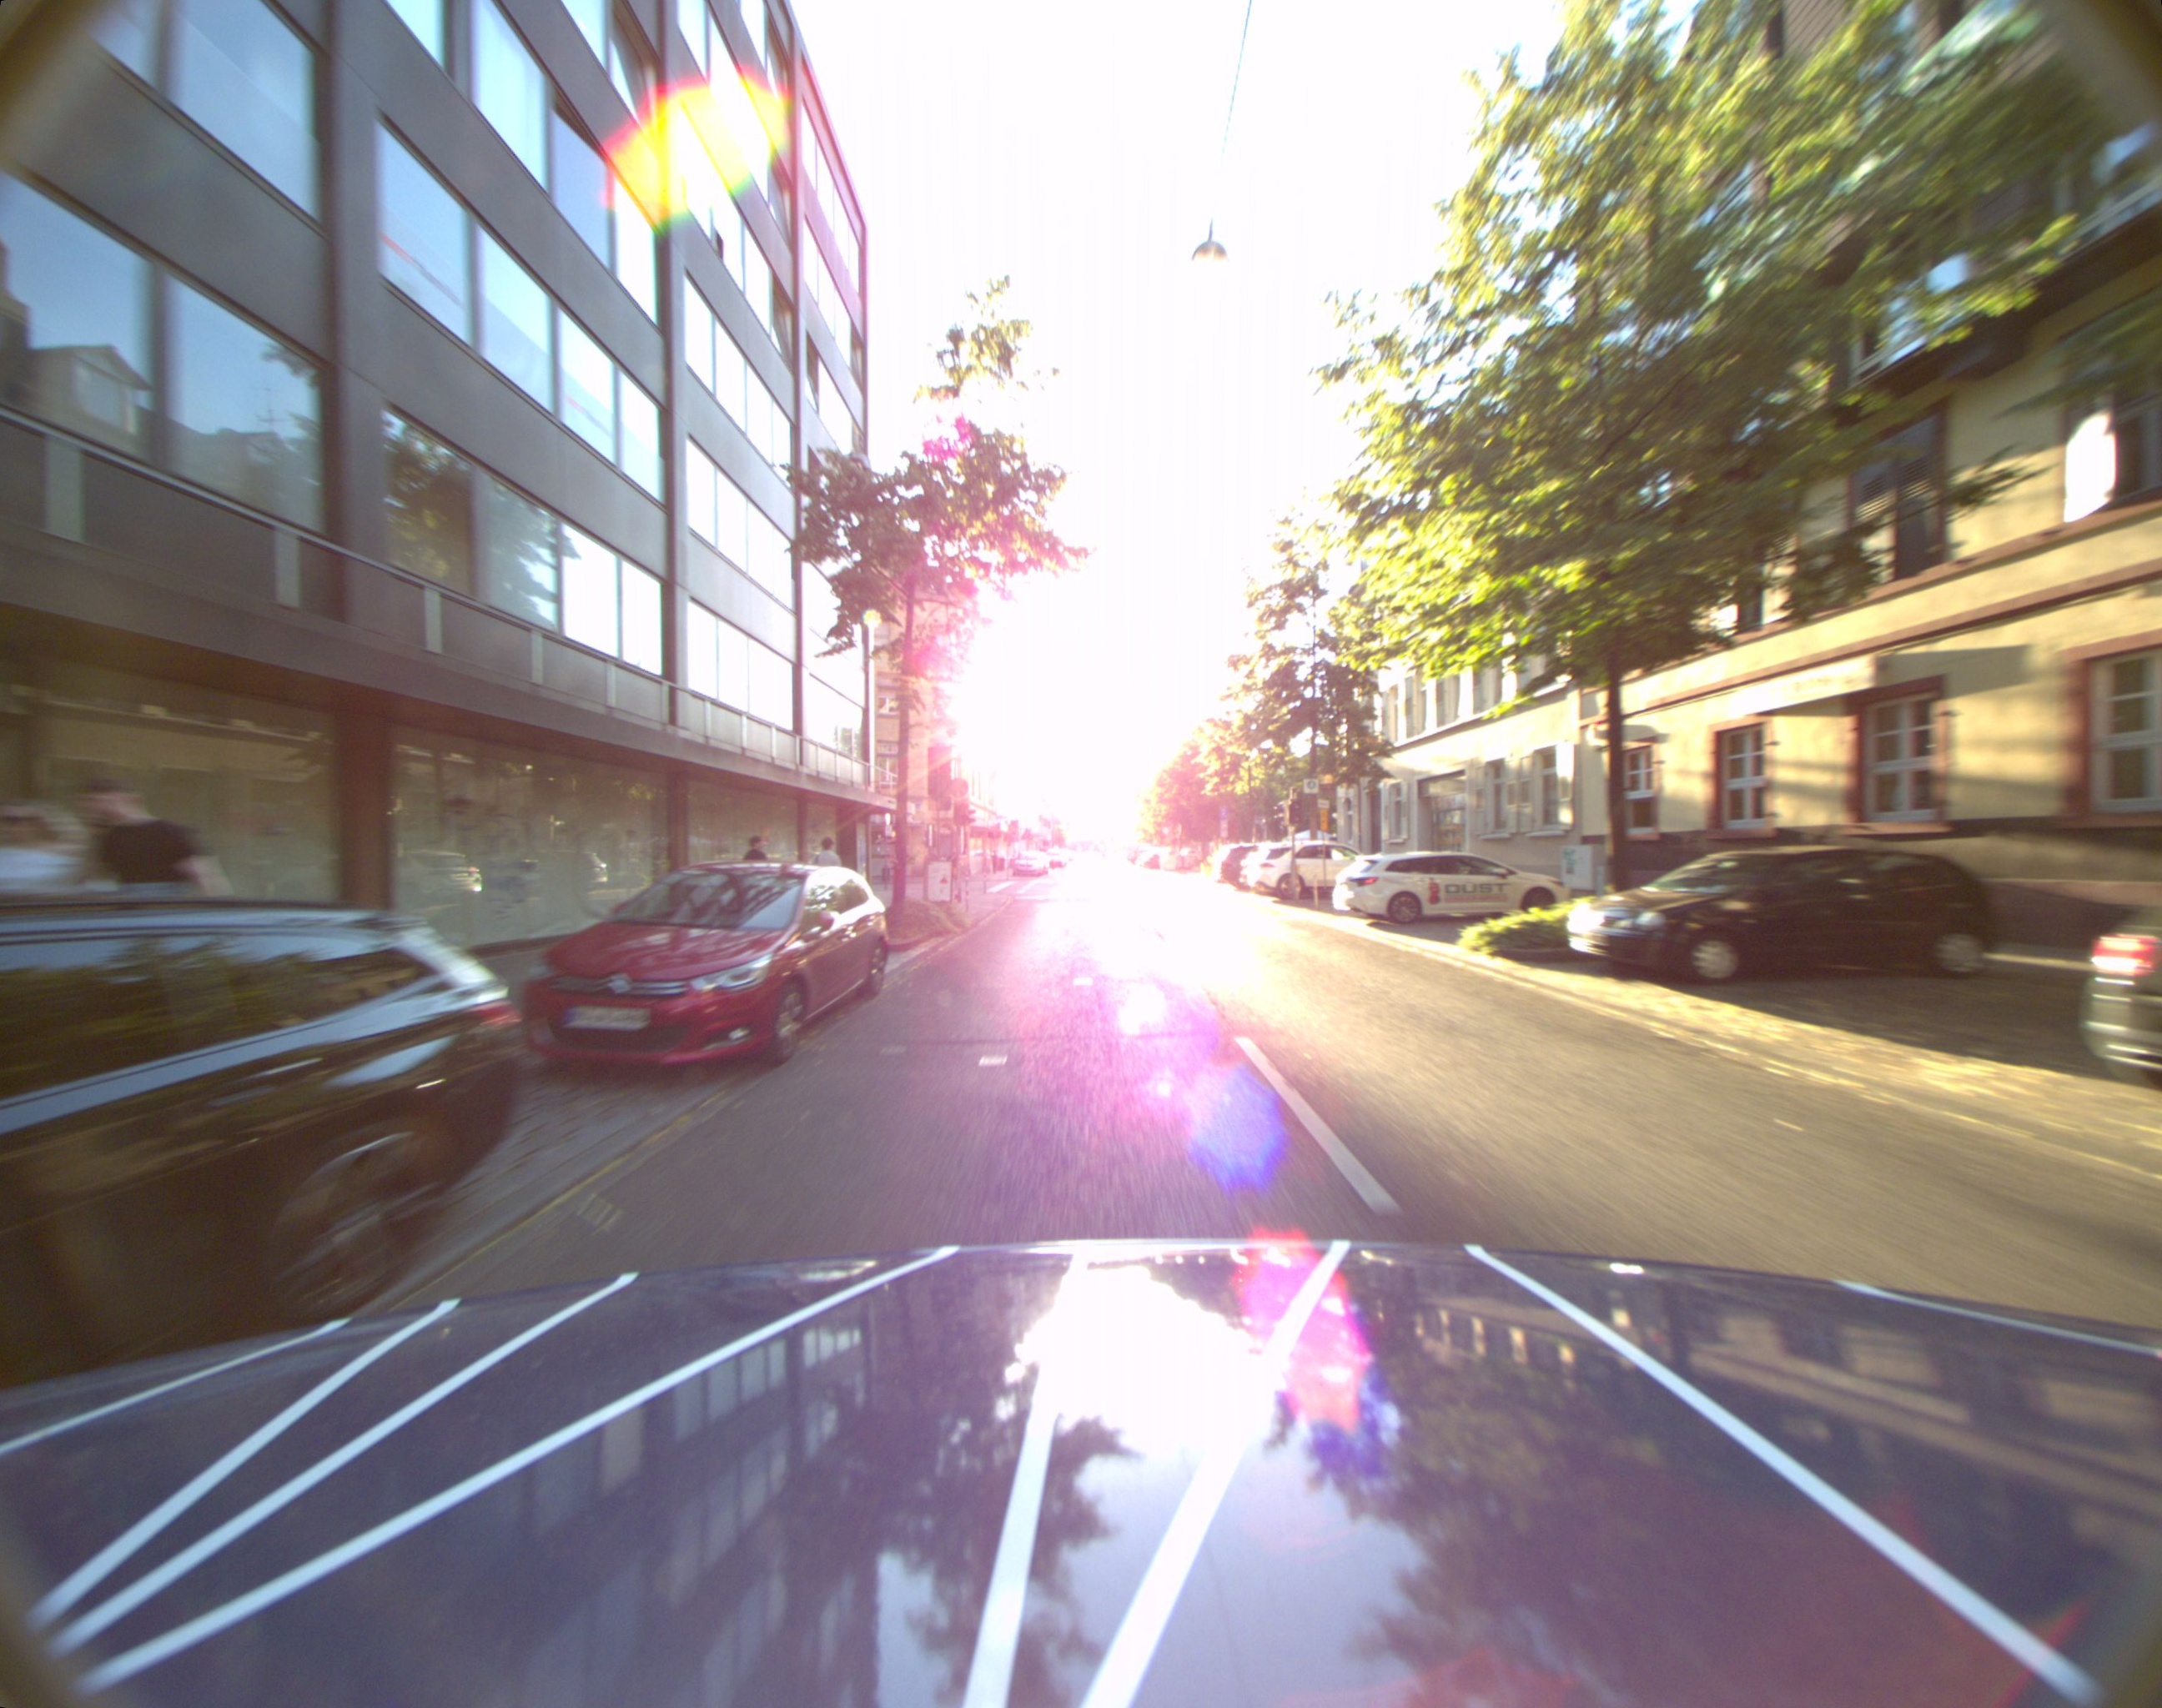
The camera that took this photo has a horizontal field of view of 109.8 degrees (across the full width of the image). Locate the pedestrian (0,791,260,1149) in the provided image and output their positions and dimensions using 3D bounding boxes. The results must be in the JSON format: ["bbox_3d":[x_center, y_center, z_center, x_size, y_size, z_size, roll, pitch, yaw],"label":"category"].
[{"bbox_3d":[-5.665,0.597,4.443,0.627,1.857,0.976,2,1,1],"label":"pedestrian"}]

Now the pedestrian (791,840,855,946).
[{"bbox_3d":[-4.541,0.670,13.419,0.731,1.775,0.870,4,1,1],"label":"pedestrian"}]

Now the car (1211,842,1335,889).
[{"bbox_3d":[7.701,0.436,30.807,4.567,1.772,1.946,-1,1,0],"label":"car"}]

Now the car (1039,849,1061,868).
[{"bbox_3d":[-2.932,0.402,72.328,1.758,1.638,3.793,3,0,1],"label":"car"}]

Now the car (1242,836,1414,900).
[{"bbox_3d":[7.668,0.422,23.974,4.718,1.800,2.053,-2,0,2],"label":"car"}]

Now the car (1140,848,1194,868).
[{"bbox_3d":[7.299,0.325,64.156,4.579,1.548,1.809,-1,0,-37],"label":"car"}]

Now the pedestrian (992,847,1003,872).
[{"bbox_3d":[-5.652,0.364,51.541,0.599,1.653,0.603,1,1,6],"label":"pedestrian"}]

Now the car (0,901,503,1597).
[{"bbox_3d":[-3.380,0.971,1.032,1.779,1.462,4.417,2,0,0],"label":"car"}]

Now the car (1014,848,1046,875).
[{"bbox_3d":[-3.304,0.445,49.701,1.758,1.638,3.793,3,0,1],"label":"car"}]

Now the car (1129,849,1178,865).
[{"bbox_3d":[7.404,0.272,77.936,4.577,1.573,2.131,-1,0,-28],"label":"car"}]

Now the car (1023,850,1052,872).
[{"bbox_3d":[-3.062,0.498,54.523,1.580,1.451,3.587,3,0,4],"label":"car"}]

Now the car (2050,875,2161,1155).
[{"bbox_3d":[7.667,0.790,3.655,3.925,1.440,1.696,-3,0,-2],"label":"car"}]

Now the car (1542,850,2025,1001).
[{"bbox_3d":[7.779,0.749,8.749,3.794,1.440,1.789,-2,0,3],"label":"car"}]

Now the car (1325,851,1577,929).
[{"bbox_3d":[7.666,0.720,16.053,4.393,1.414,1.822,-2,0,1],"label":"car"}]

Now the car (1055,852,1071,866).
[{"bbox_3d":[-2.130,0.585,92.563,1.758,1.638,3.793,3,0,1],"label":"car"}]

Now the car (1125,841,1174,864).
[{"bbox_3d":[7.369,-0.184,81.105,4.782,2.344,2.153,-1,1,-27],"label":"car"}]

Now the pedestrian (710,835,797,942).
[{"bbox_3d":[-5.749,0.592,13.383,1.049,1.775,0.945,3,1,1],"label":"pedestrian"}]

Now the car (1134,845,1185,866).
[{"bbox_3d":[7.348,0.128,70.910,4.579,1.922,1.896,-1,0,-37],"label":"car"}]

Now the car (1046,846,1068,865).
[{"bbox_3d":[-2.536,0.143,80.390,1.867,1.900,4.256,3,0,4],"label":"car"}]

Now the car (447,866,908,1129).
[{"bbox_3d":[-3.042,0.929,7.087,1.726,1.484,4.752,2,0,0],"label":"car"}]

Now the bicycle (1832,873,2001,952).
[{"bbox_3d":[11.980,0.806,10.983,0.622,0.983,1.734,-2,0,5],"label":"bicycle"}]

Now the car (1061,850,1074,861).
[{"bbox_3d":[-1.993,0.147,113.166,1.804,1.570,4.403,2,0,1],"label":"car"}]

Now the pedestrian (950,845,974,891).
[{"bbox_3d":[-4.607,0.538,29.480,0.756,1.748,0.812,0,1,1],"label":"pedestrian"}]

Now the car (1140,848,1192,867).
[{"bbox_3d":[7.608,0.301,67.638,4.579,1.623,1.896,-1,0,-37],"label":"car"}]

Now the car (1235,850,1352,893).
[{"bbox_3d":[7.785,0.628,28.140,3.825,1.453,1.821,-1,0,2],"label":"car"}]

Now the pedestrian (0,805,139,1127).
[{"bbox_3d":[-6.315,0.616,4.422,0.590,1.799,0.835,2,1,1],"label":"pedestrian"}]

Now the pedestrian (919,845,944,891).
[{"bbox_3d":[-5.740,0.516,29.236,0.756,1.748,0.812,0,1,1],"label":"pedestrian"}]
